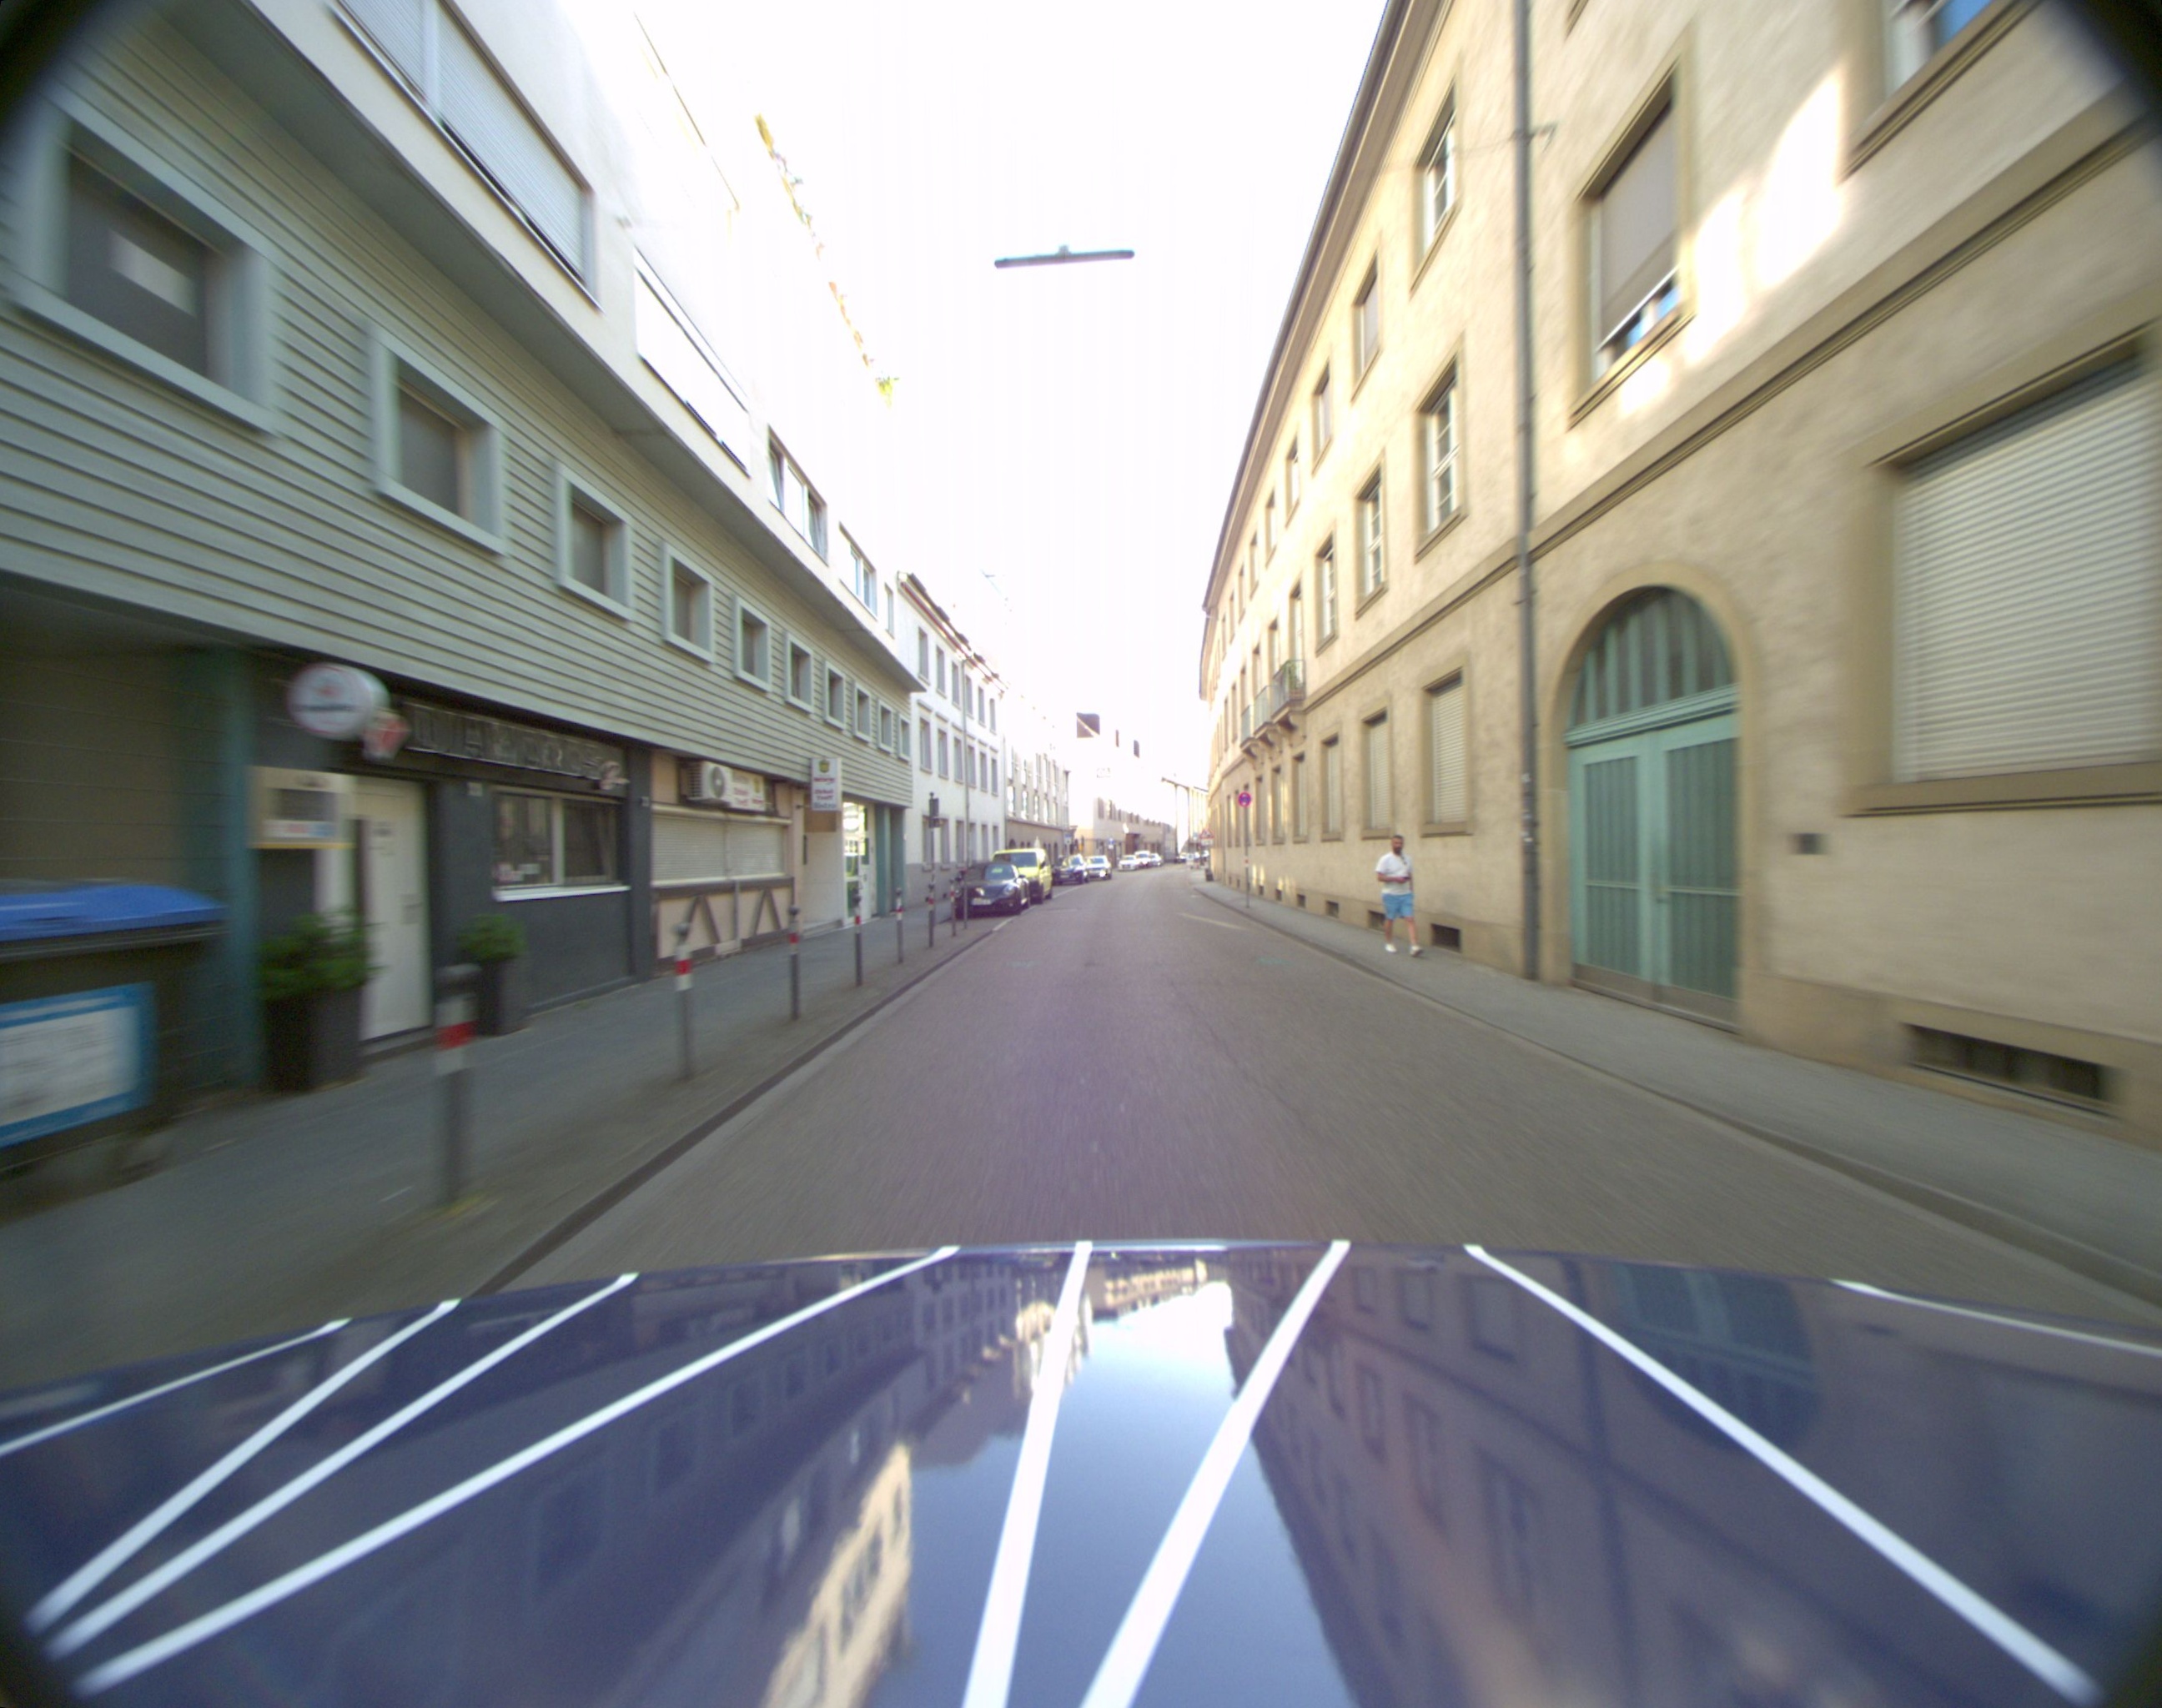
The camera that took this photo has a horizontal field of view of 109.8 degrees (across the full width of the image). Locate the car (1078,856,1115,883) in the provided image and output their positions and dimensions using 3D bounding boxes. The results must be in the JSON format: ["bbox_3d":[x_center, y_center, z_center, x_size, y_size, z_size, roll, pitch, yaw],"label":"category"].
[{"bbox_3d":[1.044,0.928,48.450,1.828,1.550,3.989,-2,0,9],"label":"car"}]

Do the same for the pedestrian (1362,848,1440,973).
[{"bbox_3d":[4.489,0.767,10.709,0.694,1.660,0.875,-3,1,3],"label":"pedestrian"}]

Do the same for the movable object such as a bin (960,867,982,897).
[{"bbox_3d":[-4.143,1.045,28.632,0.607,1.045,0.708,4,1,3],"label":"movable object such as a bin"}]

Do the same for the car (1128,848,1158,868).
[{"bbox_3d":[6.567,0.415,79.600,1.946,1.850,5.200,-6,-1,16],"label":"car"}]

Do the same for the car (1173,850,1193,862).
[{"bbox_3d":[14.174,0.253,105.212,1.963,1.400,4.202,-3,0,19],"label":"car"}]

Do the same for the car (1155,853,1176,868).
[{"bbox_3d":[10.580,0.768,95.270,1.774,1.574,3.861,-6,-1,17],"label":"car"}]

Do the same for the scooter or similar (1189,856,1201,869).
[{"bbox_3d":[11.059,0.797,73.795,1.302,1.218,0.467,0,0,-40],"label":"scooter or similar"}]

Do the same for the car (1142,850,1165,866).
[{"bbox_3d":[8.151,0.462,85.499,1.774,1.574,3.860,-6,-1,16],"label":"car"}]

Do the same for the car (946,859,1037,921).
[{"bbox_3d":[-2.414,0.927,21.586,1.888,1.480,4.368,-2,0,2],"label":"car"}]

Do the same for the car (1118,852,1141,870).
[{"bbox_3d":[4.745,0.653,73.570,1.734,1.539,4.003,-2,0,11],"label":"car"}]

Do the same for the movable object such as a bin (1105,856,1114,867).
[{"bbox_3d":[2.833,0.764,75.335,0.687,1.079,0.930,-2,0,12],"label":"movable object such as a bin"}]

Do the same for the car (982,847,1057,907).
[{"bbox_3d":[-2.064,0.735,26.921,1.887,1.871,4.846,-2,0,4],"label":"car"}]

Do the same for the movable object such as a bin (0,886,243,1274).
[{"bbox_3d":[-4.796,0.932,3.081,0.983,1.472,1.551,0,3,1],"label":"movable object such as a bin"}]

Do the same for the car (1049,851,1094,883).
[{"bbox_3d":[-0.497,0.720,43.389,1.828,1.645,4.496,-2,0,8],"label":"car"}]
